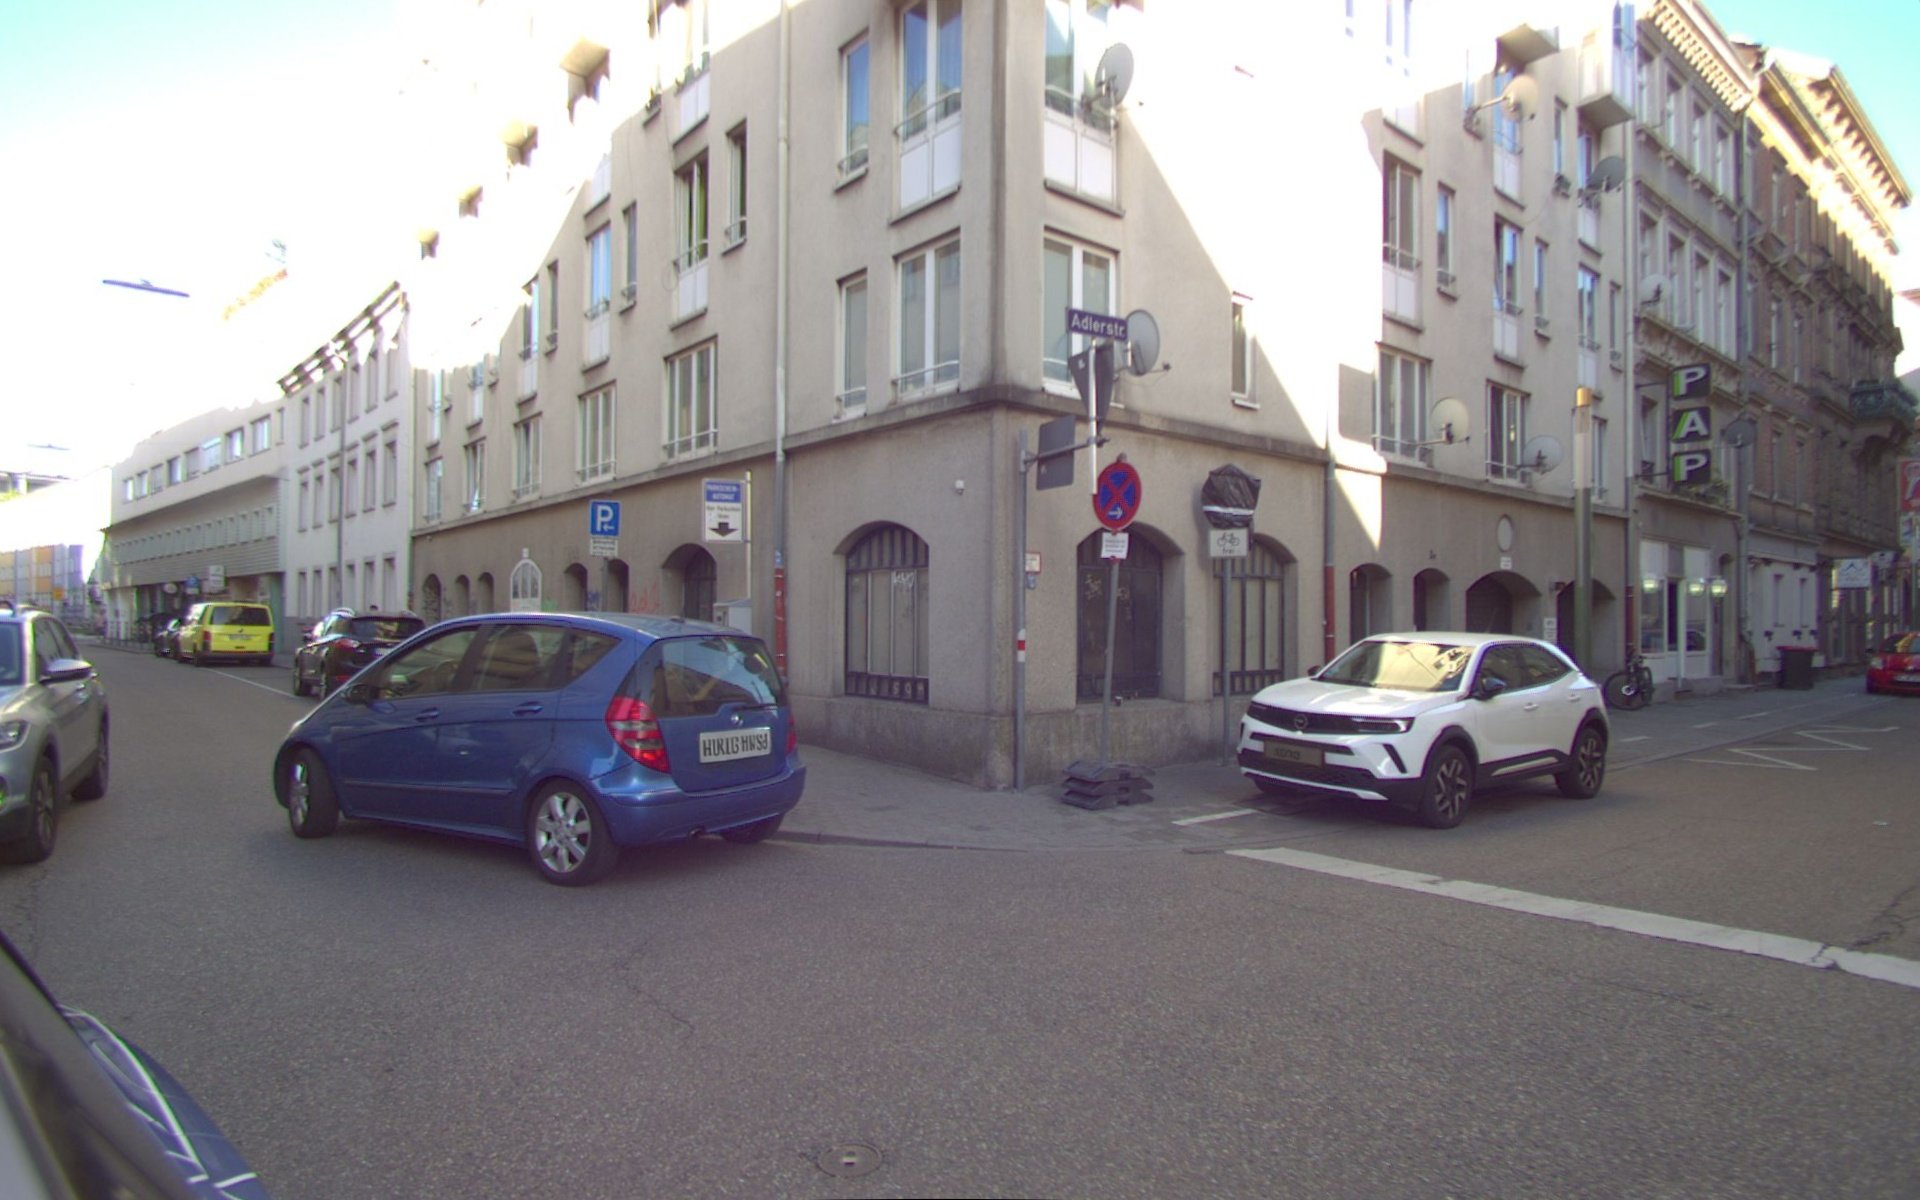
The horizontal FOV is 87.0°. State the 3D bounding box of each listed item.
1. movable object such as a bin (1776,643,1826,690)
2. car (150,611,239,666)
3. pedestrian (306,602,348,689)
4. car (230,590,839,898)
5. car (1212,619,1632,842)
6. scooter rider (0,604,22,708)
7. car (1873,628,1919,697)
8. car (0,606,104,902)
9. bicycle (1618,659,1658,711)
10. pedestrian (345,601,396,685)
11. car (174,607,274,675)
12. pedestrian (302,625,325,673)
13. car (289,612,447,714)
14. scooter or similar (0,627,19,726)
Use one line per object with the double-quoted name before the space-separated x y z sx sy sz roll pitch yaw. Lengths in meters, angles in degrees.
"movable object such as a bin" 20.441 1.607 24.603 0.743 1.056 0.838 -2 0 -43
"car" -26.772 1.349 35.371 4.002 1.781 1.862 -1 -4 45
"pedestrian" -15.062 1.079 24.095 0.705 2.029 0.699 2 -2 -43
"car" -2.925 0.846 6.974 3.786 1.605 1.840 -2 -3 26
"car" 4.301 1.006 9.231 3.903 1.605 1.748 1 -1 -35
"scooter rider" -14.319 0.830 14.999 0.583 1.519 0.601 -2 0 -42
"car" 23.277 1.464 24.151 3.938 1.536 1.796 1 0 -42
"car" -6.885 0.842 6.523 1.735 1.558 4.010 1 -1 -35
"bicycle" 12.522 1.557 18.675 1.047 0.864 0.219 -2 0 -34
"pedestrian" -14.471 1.045 24.830 0.923 2.029 0.699 2 -2 -43
"car" -22.517 1.201 30.903 4.002 1.888 1.862 -1 0 45
"pedestrian" -19.752 1.497 30.930 0.547 1.459 0.584 1 -2 -32
"car" -11.226 1.123 19.065 1.860 1.717 4.006 3 -3 -40
"scooter or similar" -14.311 1.099 14.956 0.542 1.407 1.557 2 -2 -42
